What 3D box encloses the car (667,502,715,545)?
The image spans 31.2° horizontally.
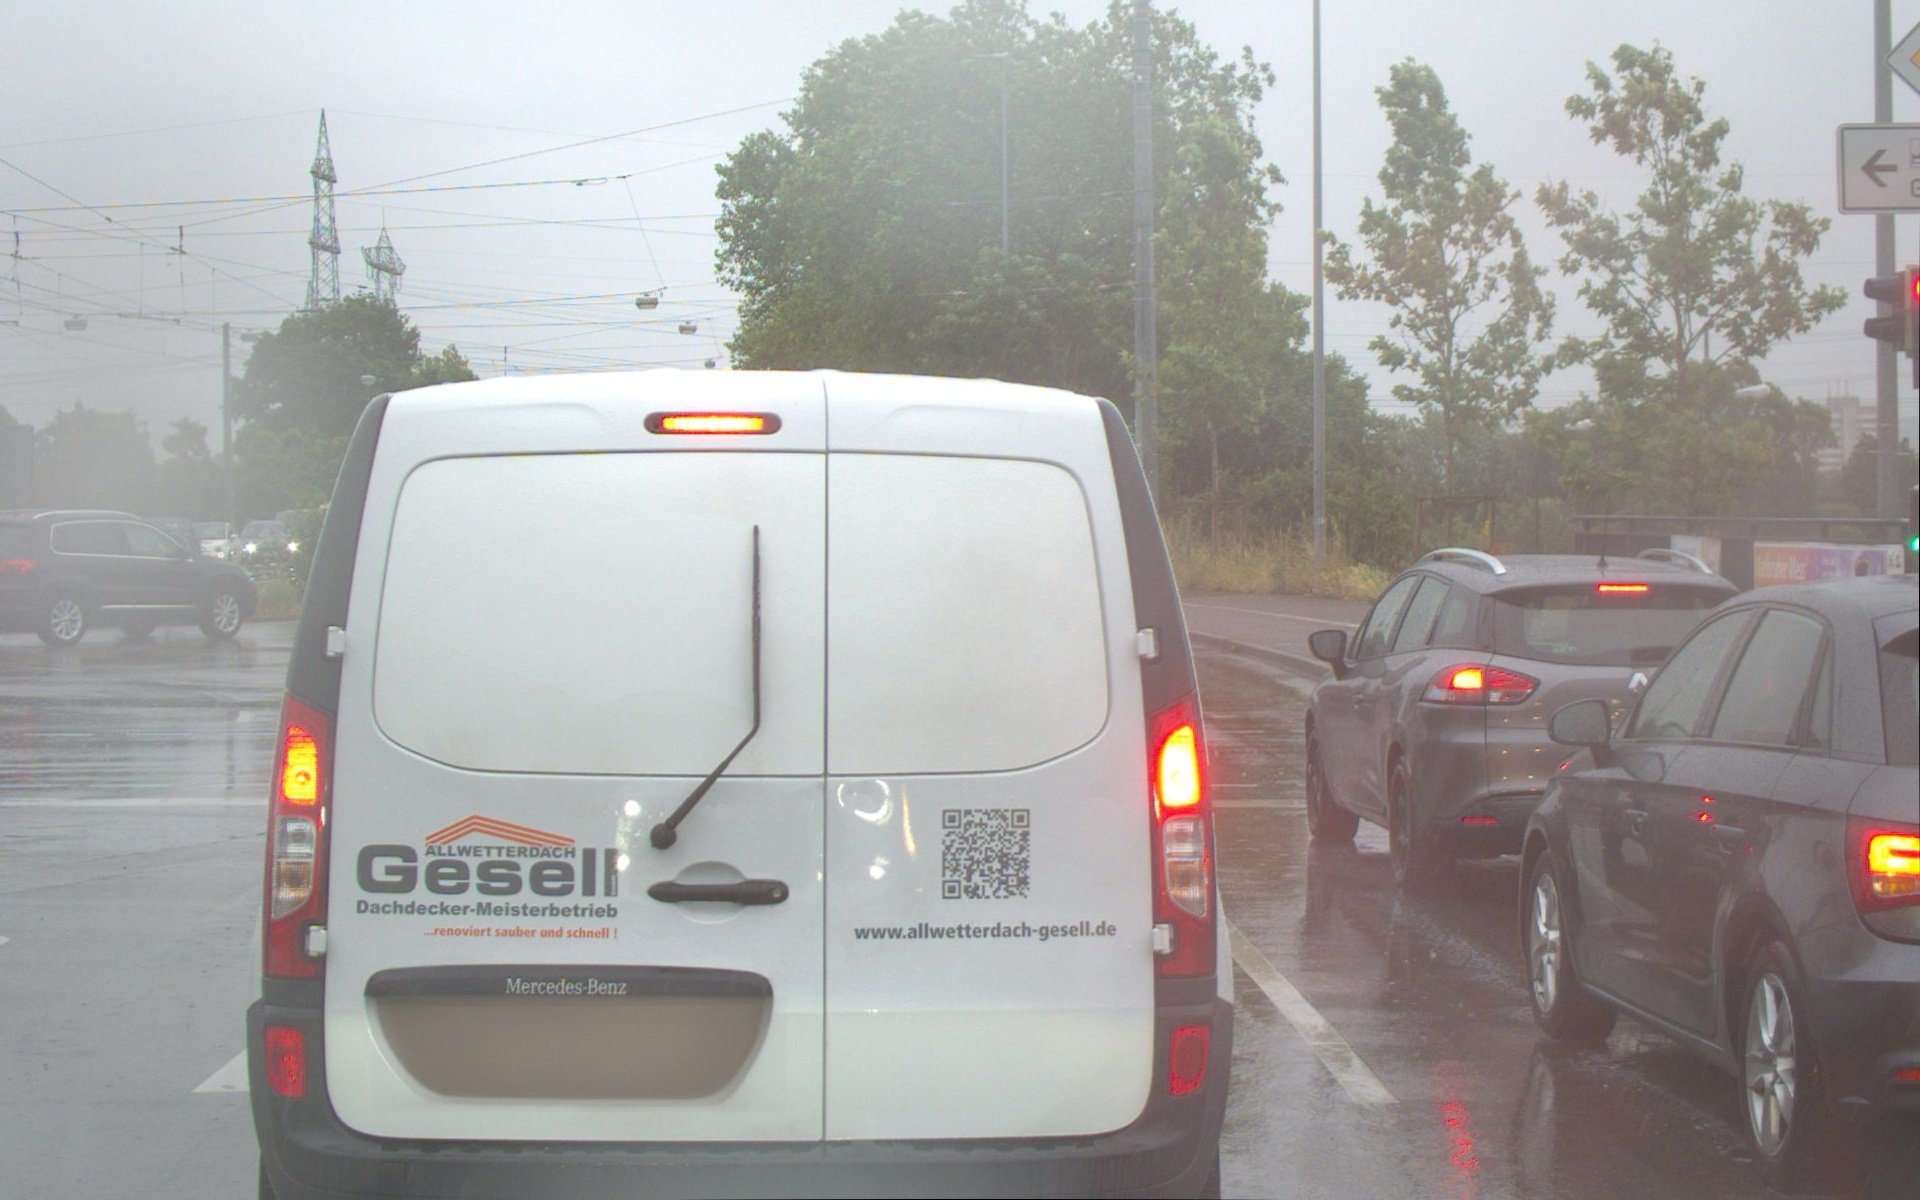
[{"bbox_3d":[-11.290,-3.208,144.492,1.947,1.656,4.465,2,0,-4],"label":"car"}]

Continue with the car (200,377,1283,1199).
[{"bbox_3d":[-0.500,0.455,7.706,1.754,1.744,4.170,1,2,-4],"label":"car"}]

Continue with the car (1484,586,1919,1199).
[{"bbox_3d":[2.529,0.650,8.960,1.597,1.362,3.631,-1,0,-3],"label":"car"}]

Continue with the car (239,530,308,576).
[{"bbox_3d":[-22.581,-1.546,113.136,1.559,1.421,3.569,2,0,-1],"label":"car"}]

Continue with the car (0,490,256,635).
[{"bbox_3d":[-10.858,-0.469,43.116,1.705,1.668,3.789,4,1,34],"label":"car"}]

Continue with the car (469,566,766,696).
[{"bbox_3d":[-4.036,0.378,41.059,1.533,1.393,3.790,4,1,30],"label":"car"}]

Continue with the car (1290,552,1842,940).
[{"bbox_3d":[2.583,0.552,15.547,1.684,1.503,3.921,1,1,-1],"label":"car"}]

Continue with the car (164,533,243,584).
[{"bbox_3d":[-22.393,-1.215,101.849,1.559,1.421,3.569,2,0,-1],"label":"car"}]

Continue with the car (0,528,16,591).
[{"bbox_3d":[-22.530,-0.943,77.402,1.559,1.421,3.569,2,0,-1],"label":"car"}]
